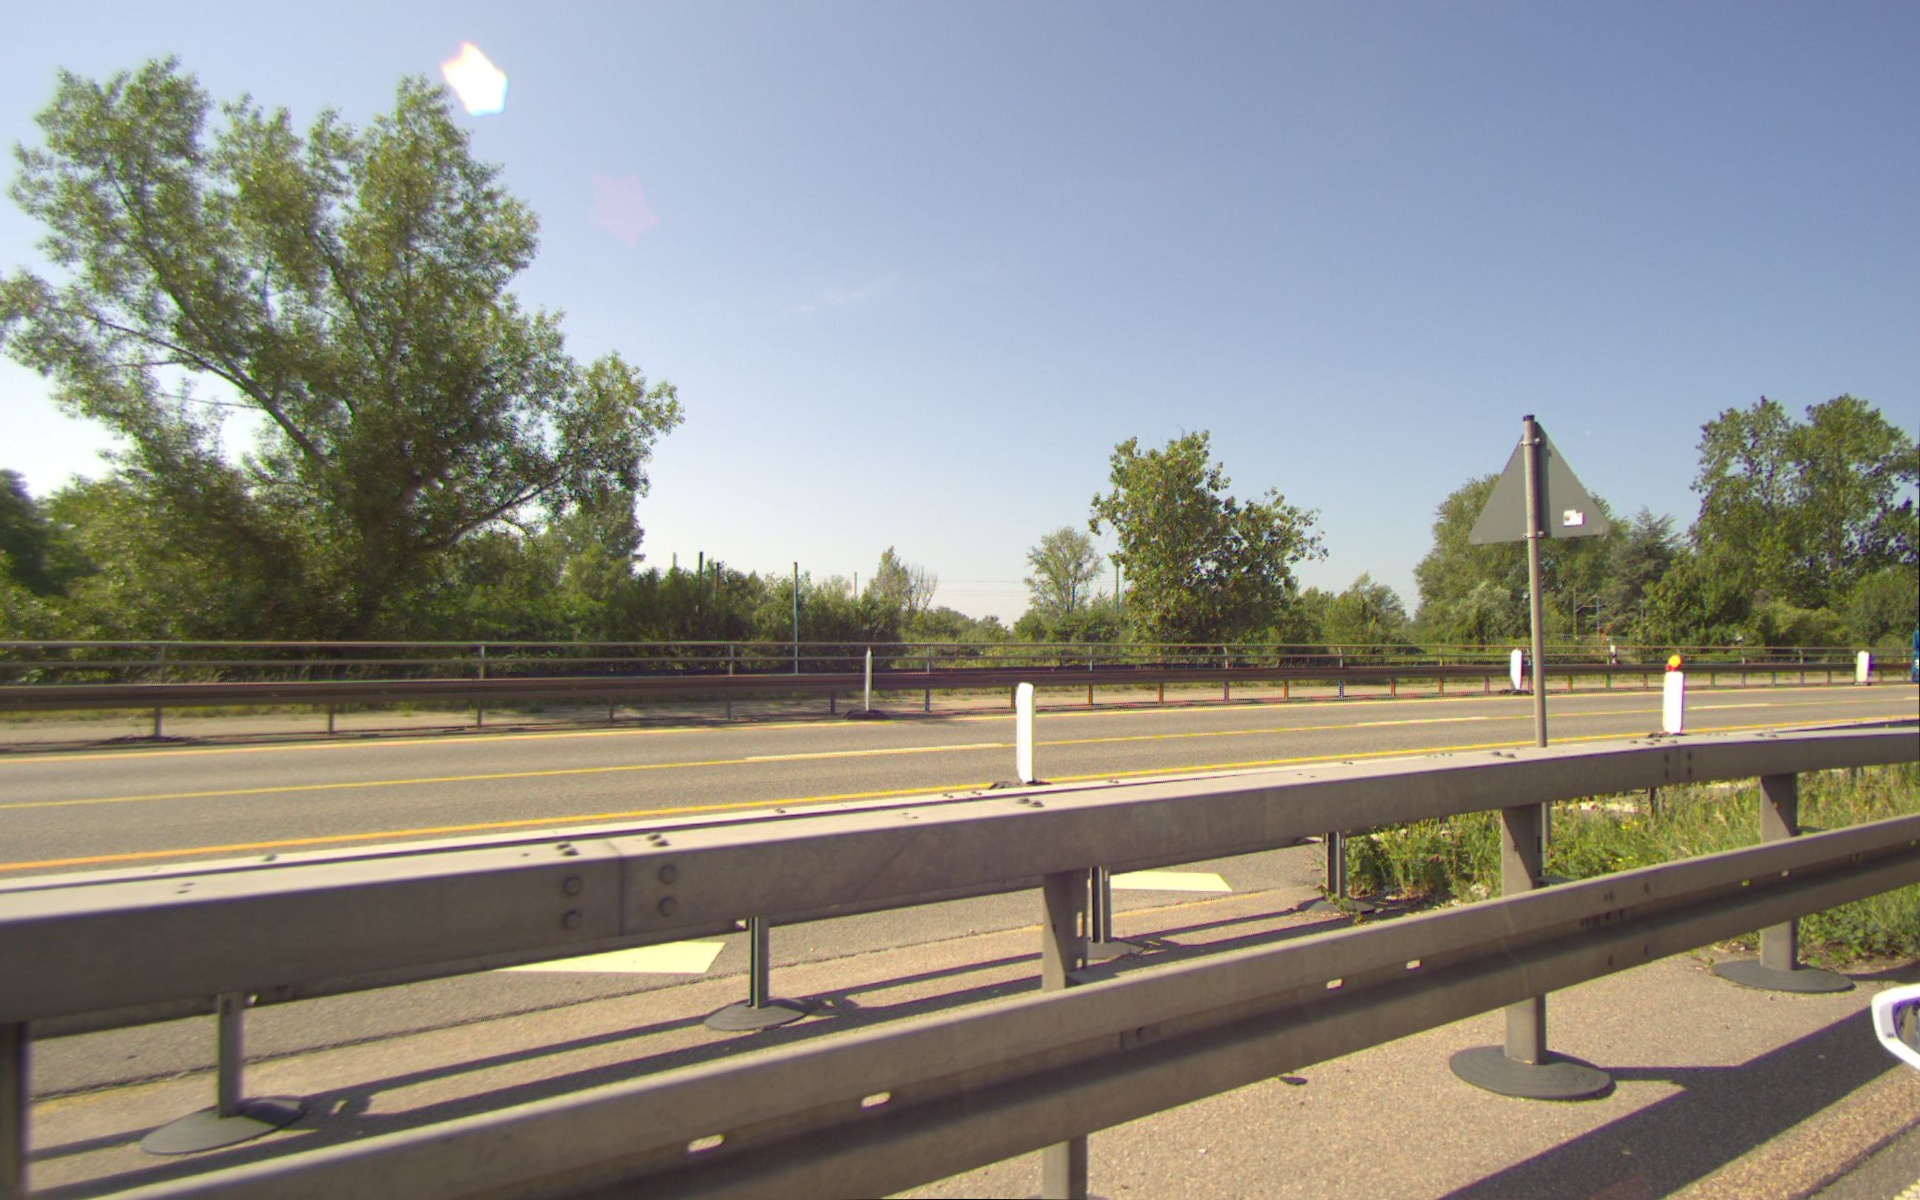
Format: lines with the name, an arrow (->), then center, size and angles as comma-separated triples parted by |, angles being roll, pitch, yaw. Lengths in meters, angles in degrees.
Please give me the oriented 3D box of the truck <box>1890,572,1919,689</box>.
truck -> 38.988, 1.194, 37.344 | 10.486, 4.146, 3.027 | 1, 0, -27
